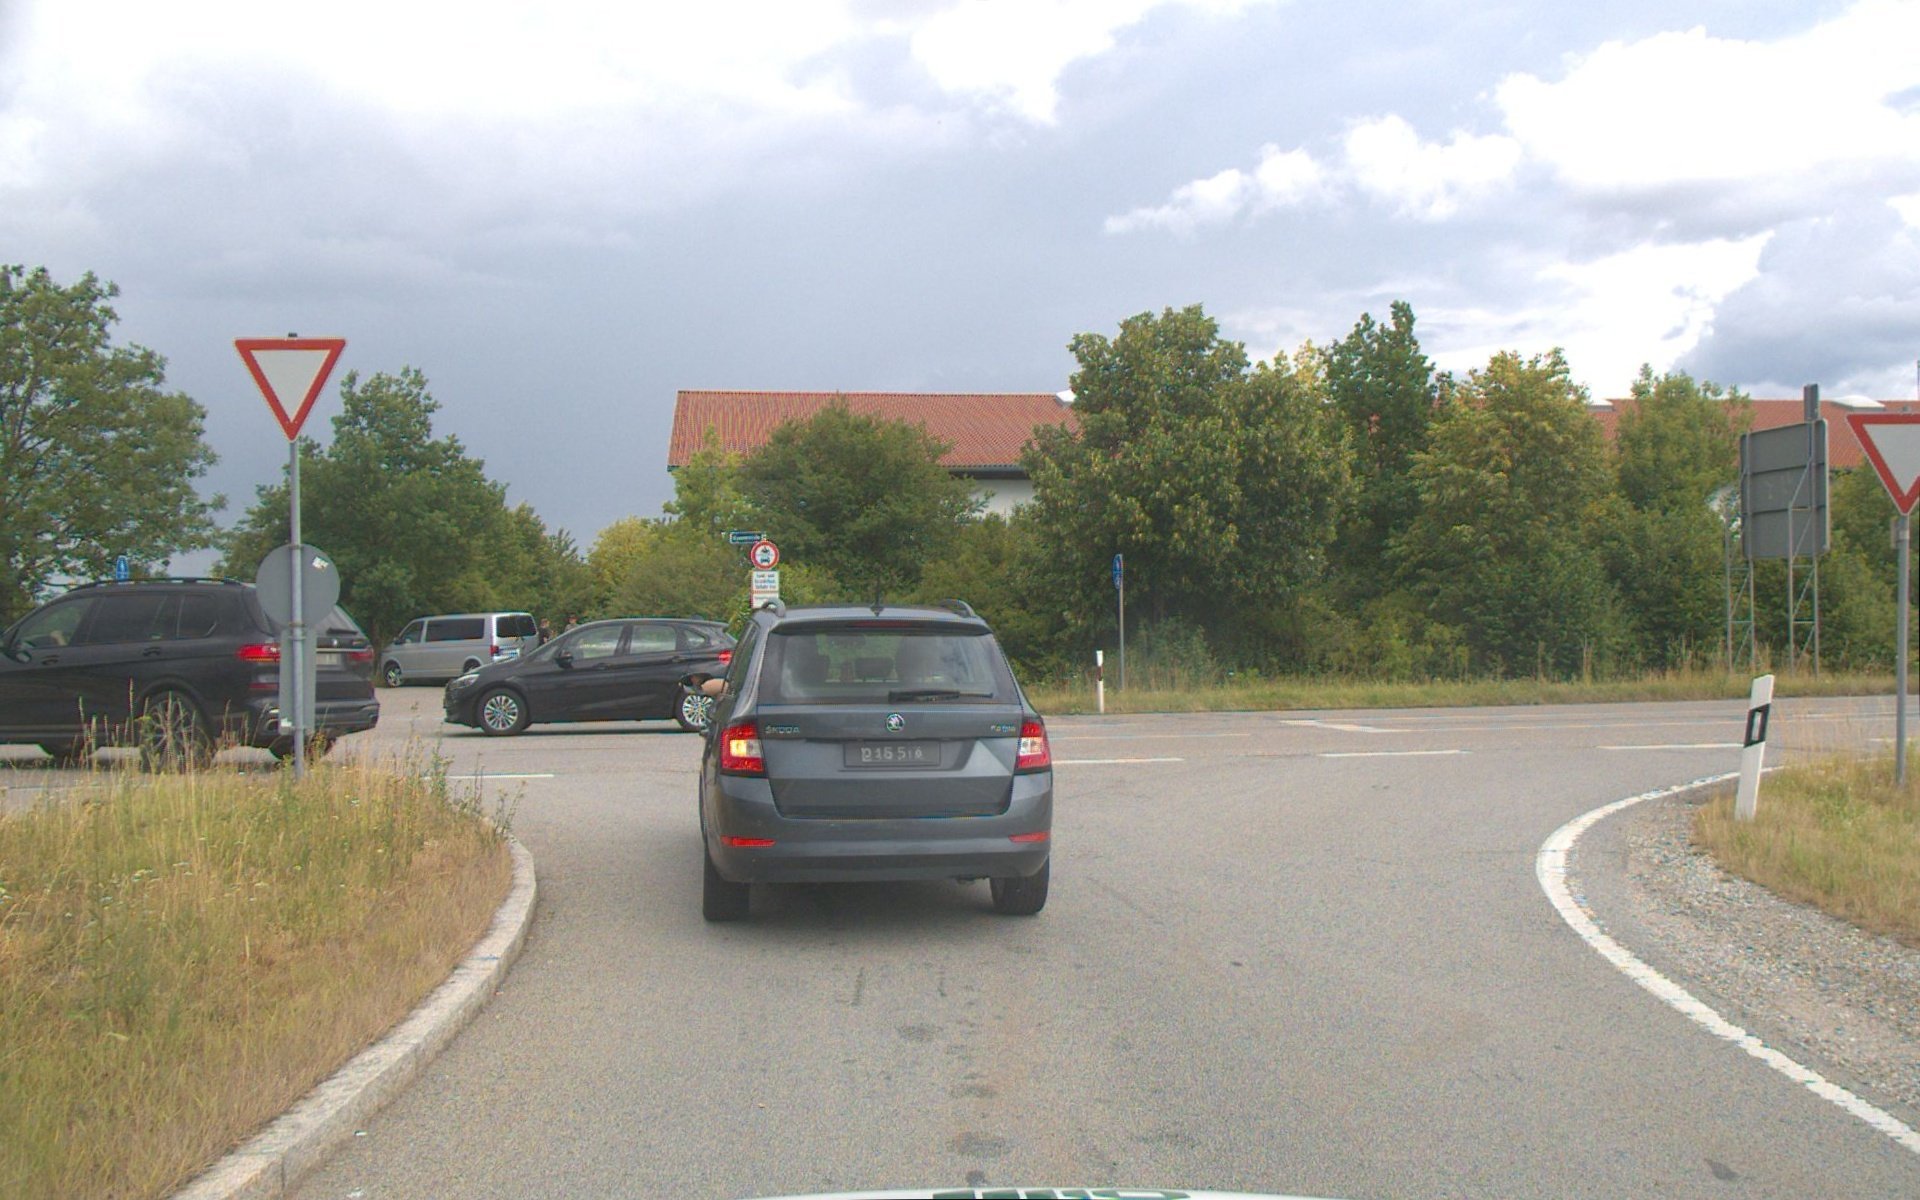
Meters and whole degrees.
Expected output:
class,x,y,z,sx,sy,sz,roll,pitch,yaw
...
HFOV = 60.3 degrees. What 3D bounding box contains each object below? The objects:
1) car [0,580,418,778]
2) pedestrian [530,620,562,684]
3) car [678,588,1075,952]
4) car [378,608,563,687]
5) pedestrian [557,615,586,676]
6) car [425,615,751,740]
class,x,y,z,sx,sy,sz,roll,pitch,yaw
car,-8.023,0.768,16.758,4.532,1.805,2.001,-1,-1,19
pedestrian,-11.508,1.436,45.993,0.518,1.756,0.640,-1,1,30
car,-0.574,0.719,8.715,1.645,1.488,3.701,1,-1,-8
car,-13.730,1.304,46.354,4.808,2.049,2.337,-1,1,31
pedestrian,-11.208,1.308,47.746,0.571,1.712,0.566,-1,1,18
car,-5.078,1.032,23.031,4.208,1.513,1.996,-2,-1,-10
